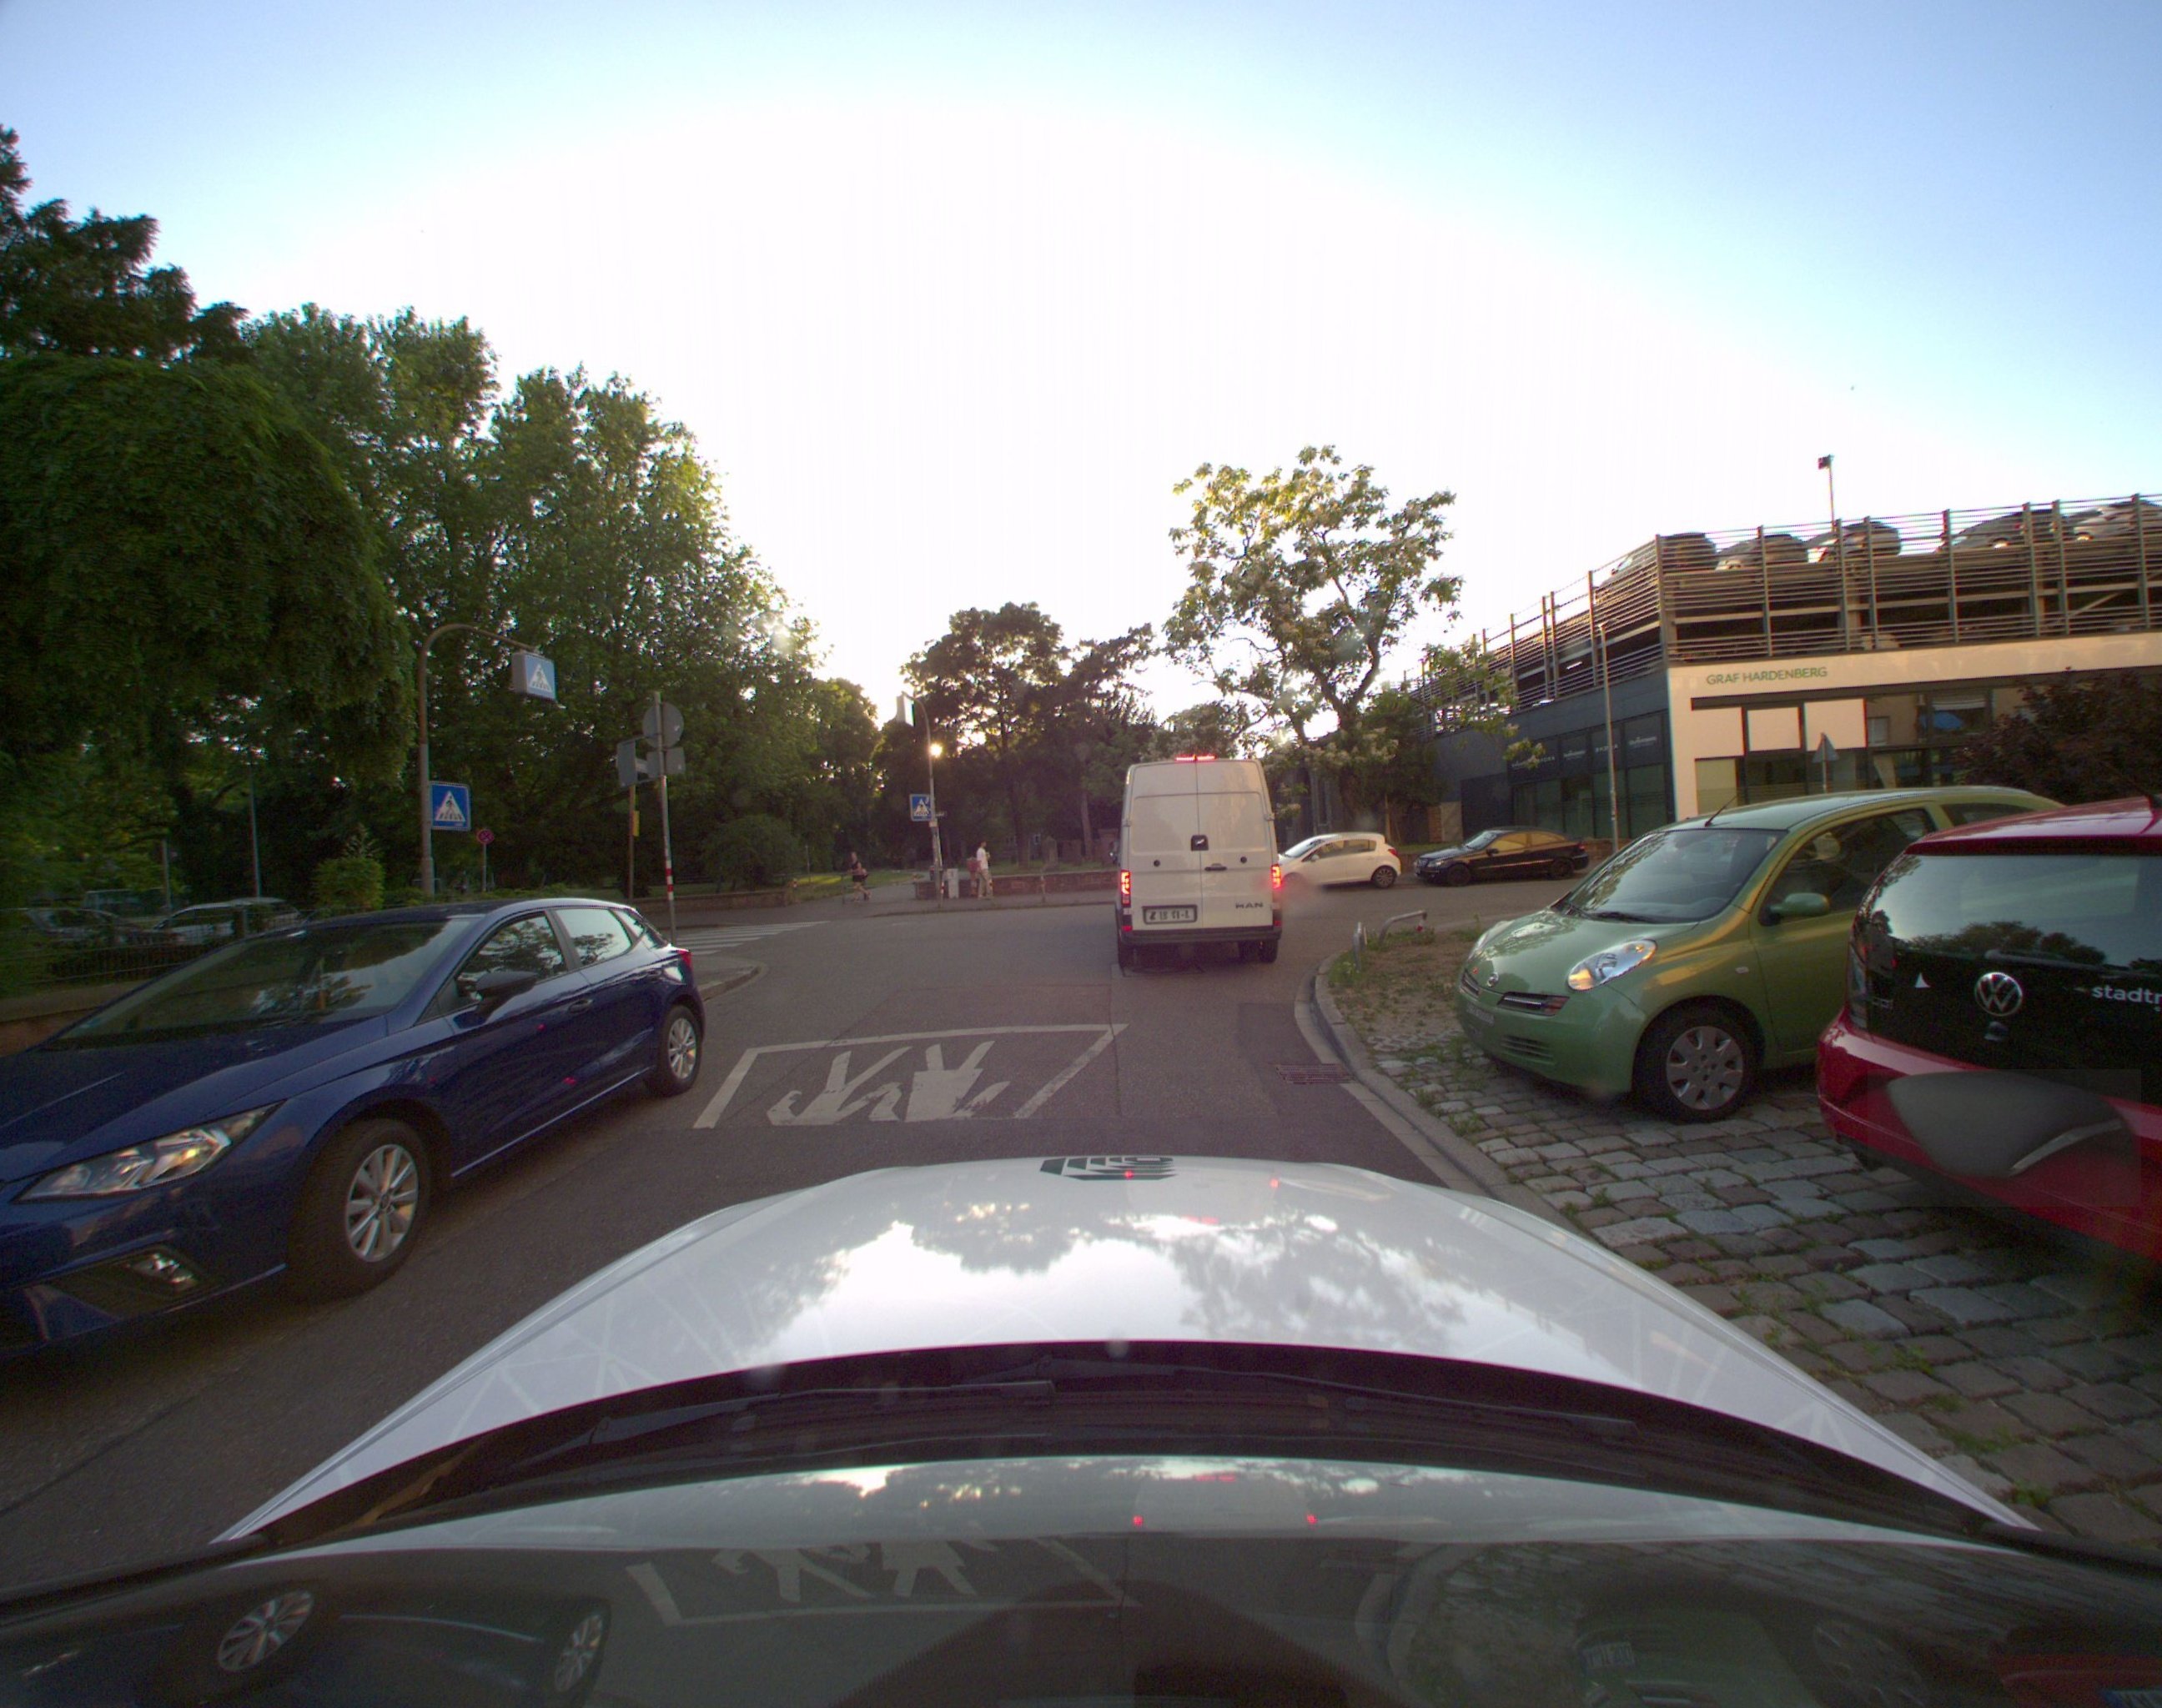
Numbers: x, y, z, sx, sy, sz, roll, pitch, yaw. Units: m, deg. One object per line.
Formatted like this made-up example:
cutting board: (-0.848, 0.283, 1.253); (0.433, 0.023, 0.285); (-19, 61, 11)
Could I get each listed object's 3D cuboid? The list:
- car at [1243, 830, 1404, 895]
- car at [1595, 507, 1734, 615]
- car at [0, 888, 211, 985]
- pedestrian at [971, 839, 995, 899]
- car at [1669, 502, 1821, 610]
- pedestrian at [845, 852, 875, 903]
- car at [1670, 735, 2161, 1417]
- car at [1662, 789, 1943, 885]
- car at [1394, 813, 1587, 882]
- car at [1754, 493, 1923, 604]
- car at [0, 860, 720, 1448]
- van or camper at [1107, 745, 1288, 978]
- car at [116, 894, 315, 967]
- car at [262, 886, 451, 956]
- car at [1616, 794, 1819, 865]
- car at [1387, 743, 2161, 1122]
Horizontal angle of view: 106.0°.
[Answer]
car: (6.673, 0.213, 22.694); (3.844, 1.574, 1.957); (-3, 0, -2)
car: (19.211, -9.604, 27.074); (1.984, 2.013, 4.006); (-2, 0, 6)
car: (-21.538, 1.770, 17.286); (4.212, 1.799, 1.824); (-4, -3, 2)
pedestrian: (-3.037, 0.459, 25.197); (0.591, 1.809, 0.621); (-2, 0, 2)
car: (21.765, -9.715, 26.935); (1.984, 2.013, 4.006); (-2, 0, 6)
pedestrian: (-7.342, 0.763, 27.060); (0.640, 1.648, 0.678); (-1, 0, 44)
car: (4.760, 0.292, 2.498); (4.386, 1.631, 1.847); (-7, 0, 2)
car: (14.251, -0.316, 16.291); (3.819, 1.523, 1.826); (-4, 0, 4)
car: (11.086, -0.176, 22.295); (4.273, 1.503, 1.825); (-4, 0, 4)
car: (24.494, -9.827, 26.577); (1.984, 2.013, 4.006); (-2, 0, 6)
car: (-3.539, 0.904, 4.146); (1.729, 1.567, 3.787); (-5, 0, -3)
van or camper: (1.576, 0.084, 12.525); (1.984, 2.618, 6.410); (-2, 0, 4)
car: (-25.668, 2.242, 24.256); (3.852, 1.562, 1.826); (-4, 6, 3)
car: (-20.963, 1.931, 23.676); (3.832, 1.491, 1.828); (-4, 6, 7)
car: (16.824, -0.623, 21.692); (3.819, 1.503, 1.826); (-4, 0, 4)
car: (4.484, 0.357, 5.028); (4.392, 1.631, 1.844); (-5, -2, -2)
